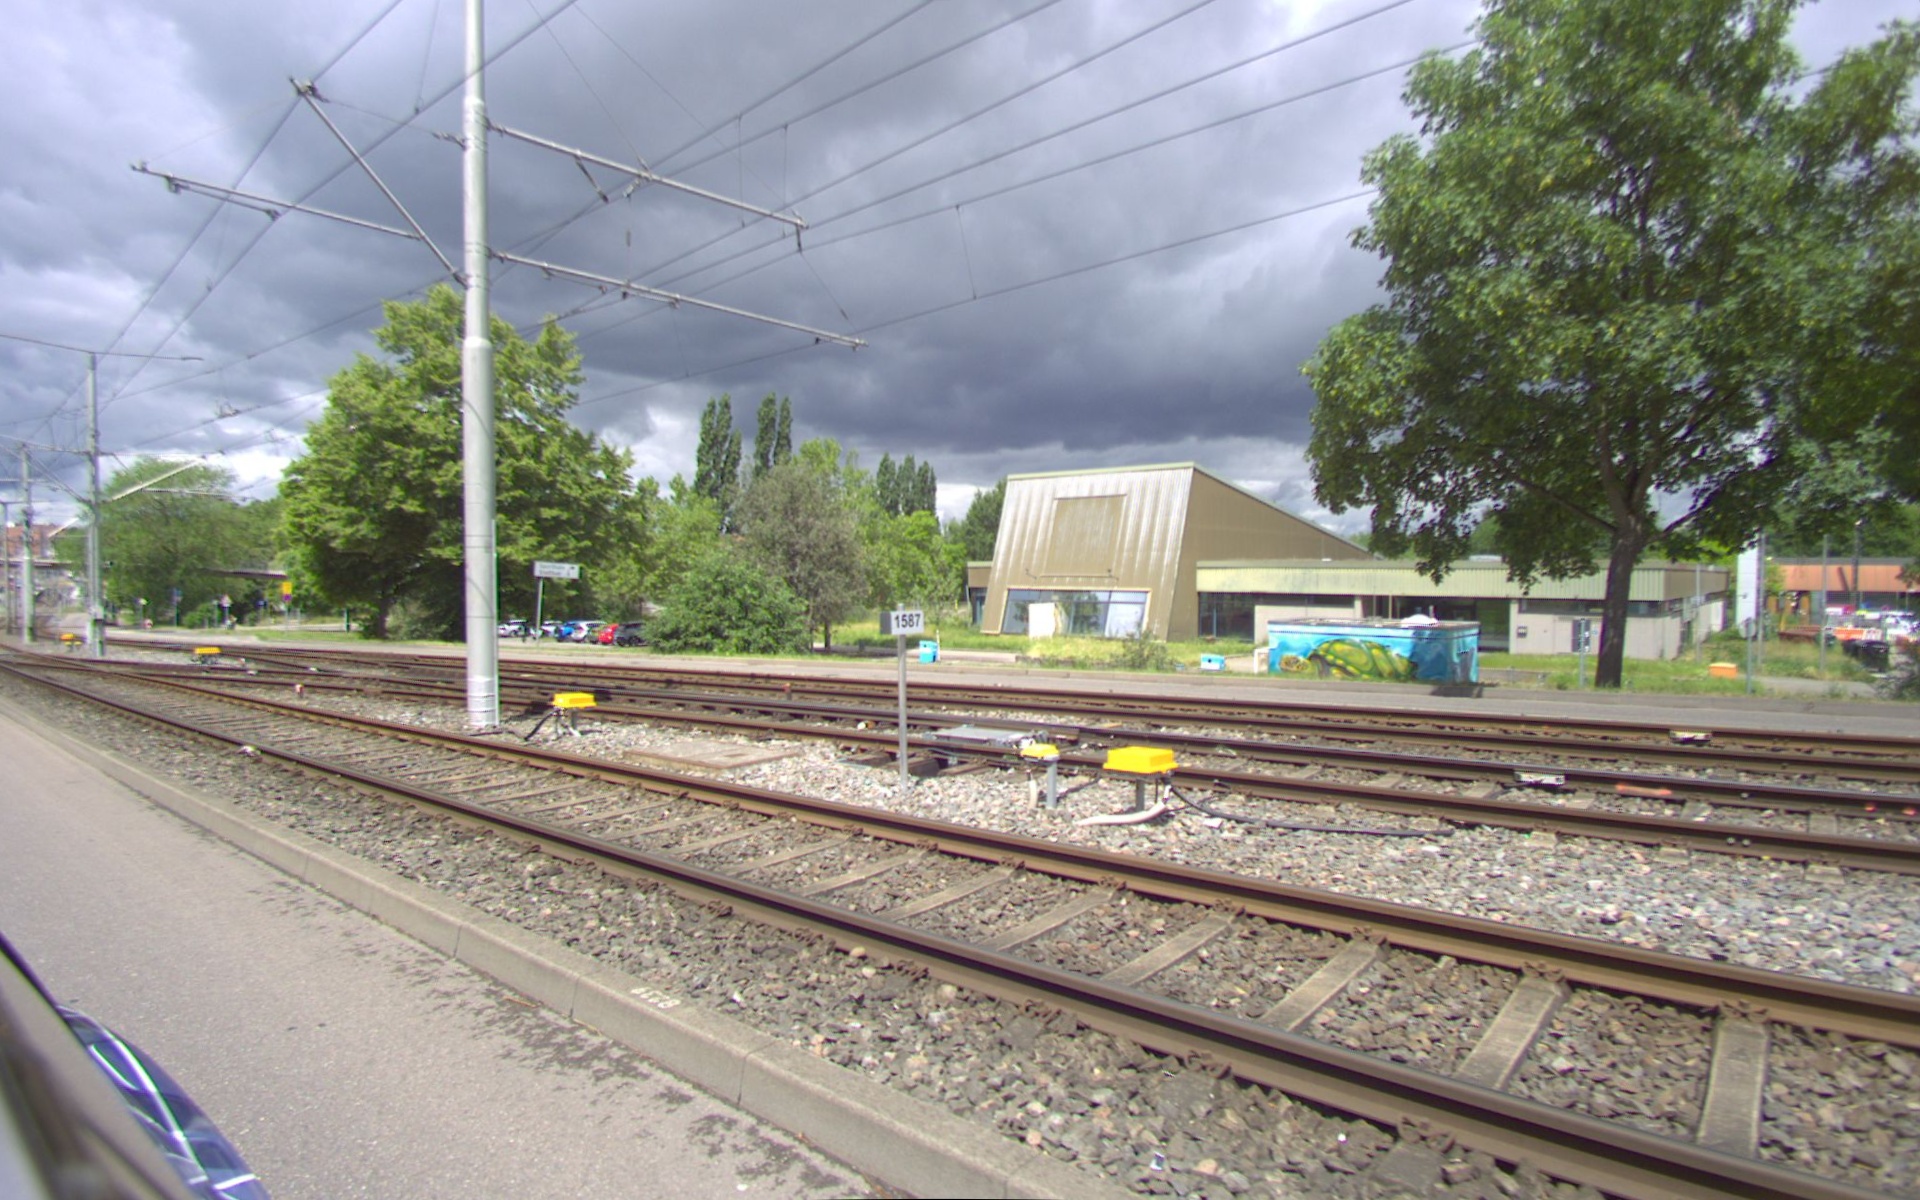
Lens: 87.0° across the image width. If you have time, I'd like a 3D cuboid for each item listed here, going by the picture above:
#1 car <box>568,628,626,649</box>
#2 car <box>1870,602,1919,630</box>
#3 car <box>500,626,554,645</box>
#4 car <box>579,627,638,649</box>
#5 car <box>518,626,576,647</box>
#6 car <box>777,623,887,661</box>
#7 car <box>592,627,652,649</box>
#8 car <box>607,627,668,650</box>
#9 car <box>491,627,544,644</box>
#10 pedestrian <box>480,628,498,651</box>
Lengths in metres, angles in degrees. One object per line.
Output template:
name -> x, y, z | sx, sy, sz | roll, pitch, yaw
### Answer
car -> -27.500, 2.913, 76.755 | 1.627, 1.546, 3.817 | -1, -3, 42
car -> 70.362, 1.176, 75.163 | 3.998, 2.029, 1.973 | -1, 0, 41
car -> -35.945, 2.959, 84.073 | 1.627, 1.546, 3.817 | -1, -3, 42
car -> -25.822, 2.812, 74.463 | 1.627, 1.546, 3.817 | -1, -3, 42
car -> -32.287, 2.854, 79.162 | 1.627, 1.546, 3.817 | -1, -3, 42
car -> -4.936, 1.615, 39.332 | 3.871, 1.420, 1.763 | 2, -2, -38
car -> -24.379, 2.762, 73.089 | 1.627, 1.546, 3.817 | -1, -3, 42
car -> -22.625, 2.674, 71.040 | 1.627, 1.546, 3.817 | -1, -3, 42
car -> -37.911, 3.009, 86.671 | 1.627, 1.431, 3.817 | -1, -3, 42
pedestrian -> -30.809, 2.596, 66.224 | 0.677, 1.508, 0.817 | 0, -2, 16
